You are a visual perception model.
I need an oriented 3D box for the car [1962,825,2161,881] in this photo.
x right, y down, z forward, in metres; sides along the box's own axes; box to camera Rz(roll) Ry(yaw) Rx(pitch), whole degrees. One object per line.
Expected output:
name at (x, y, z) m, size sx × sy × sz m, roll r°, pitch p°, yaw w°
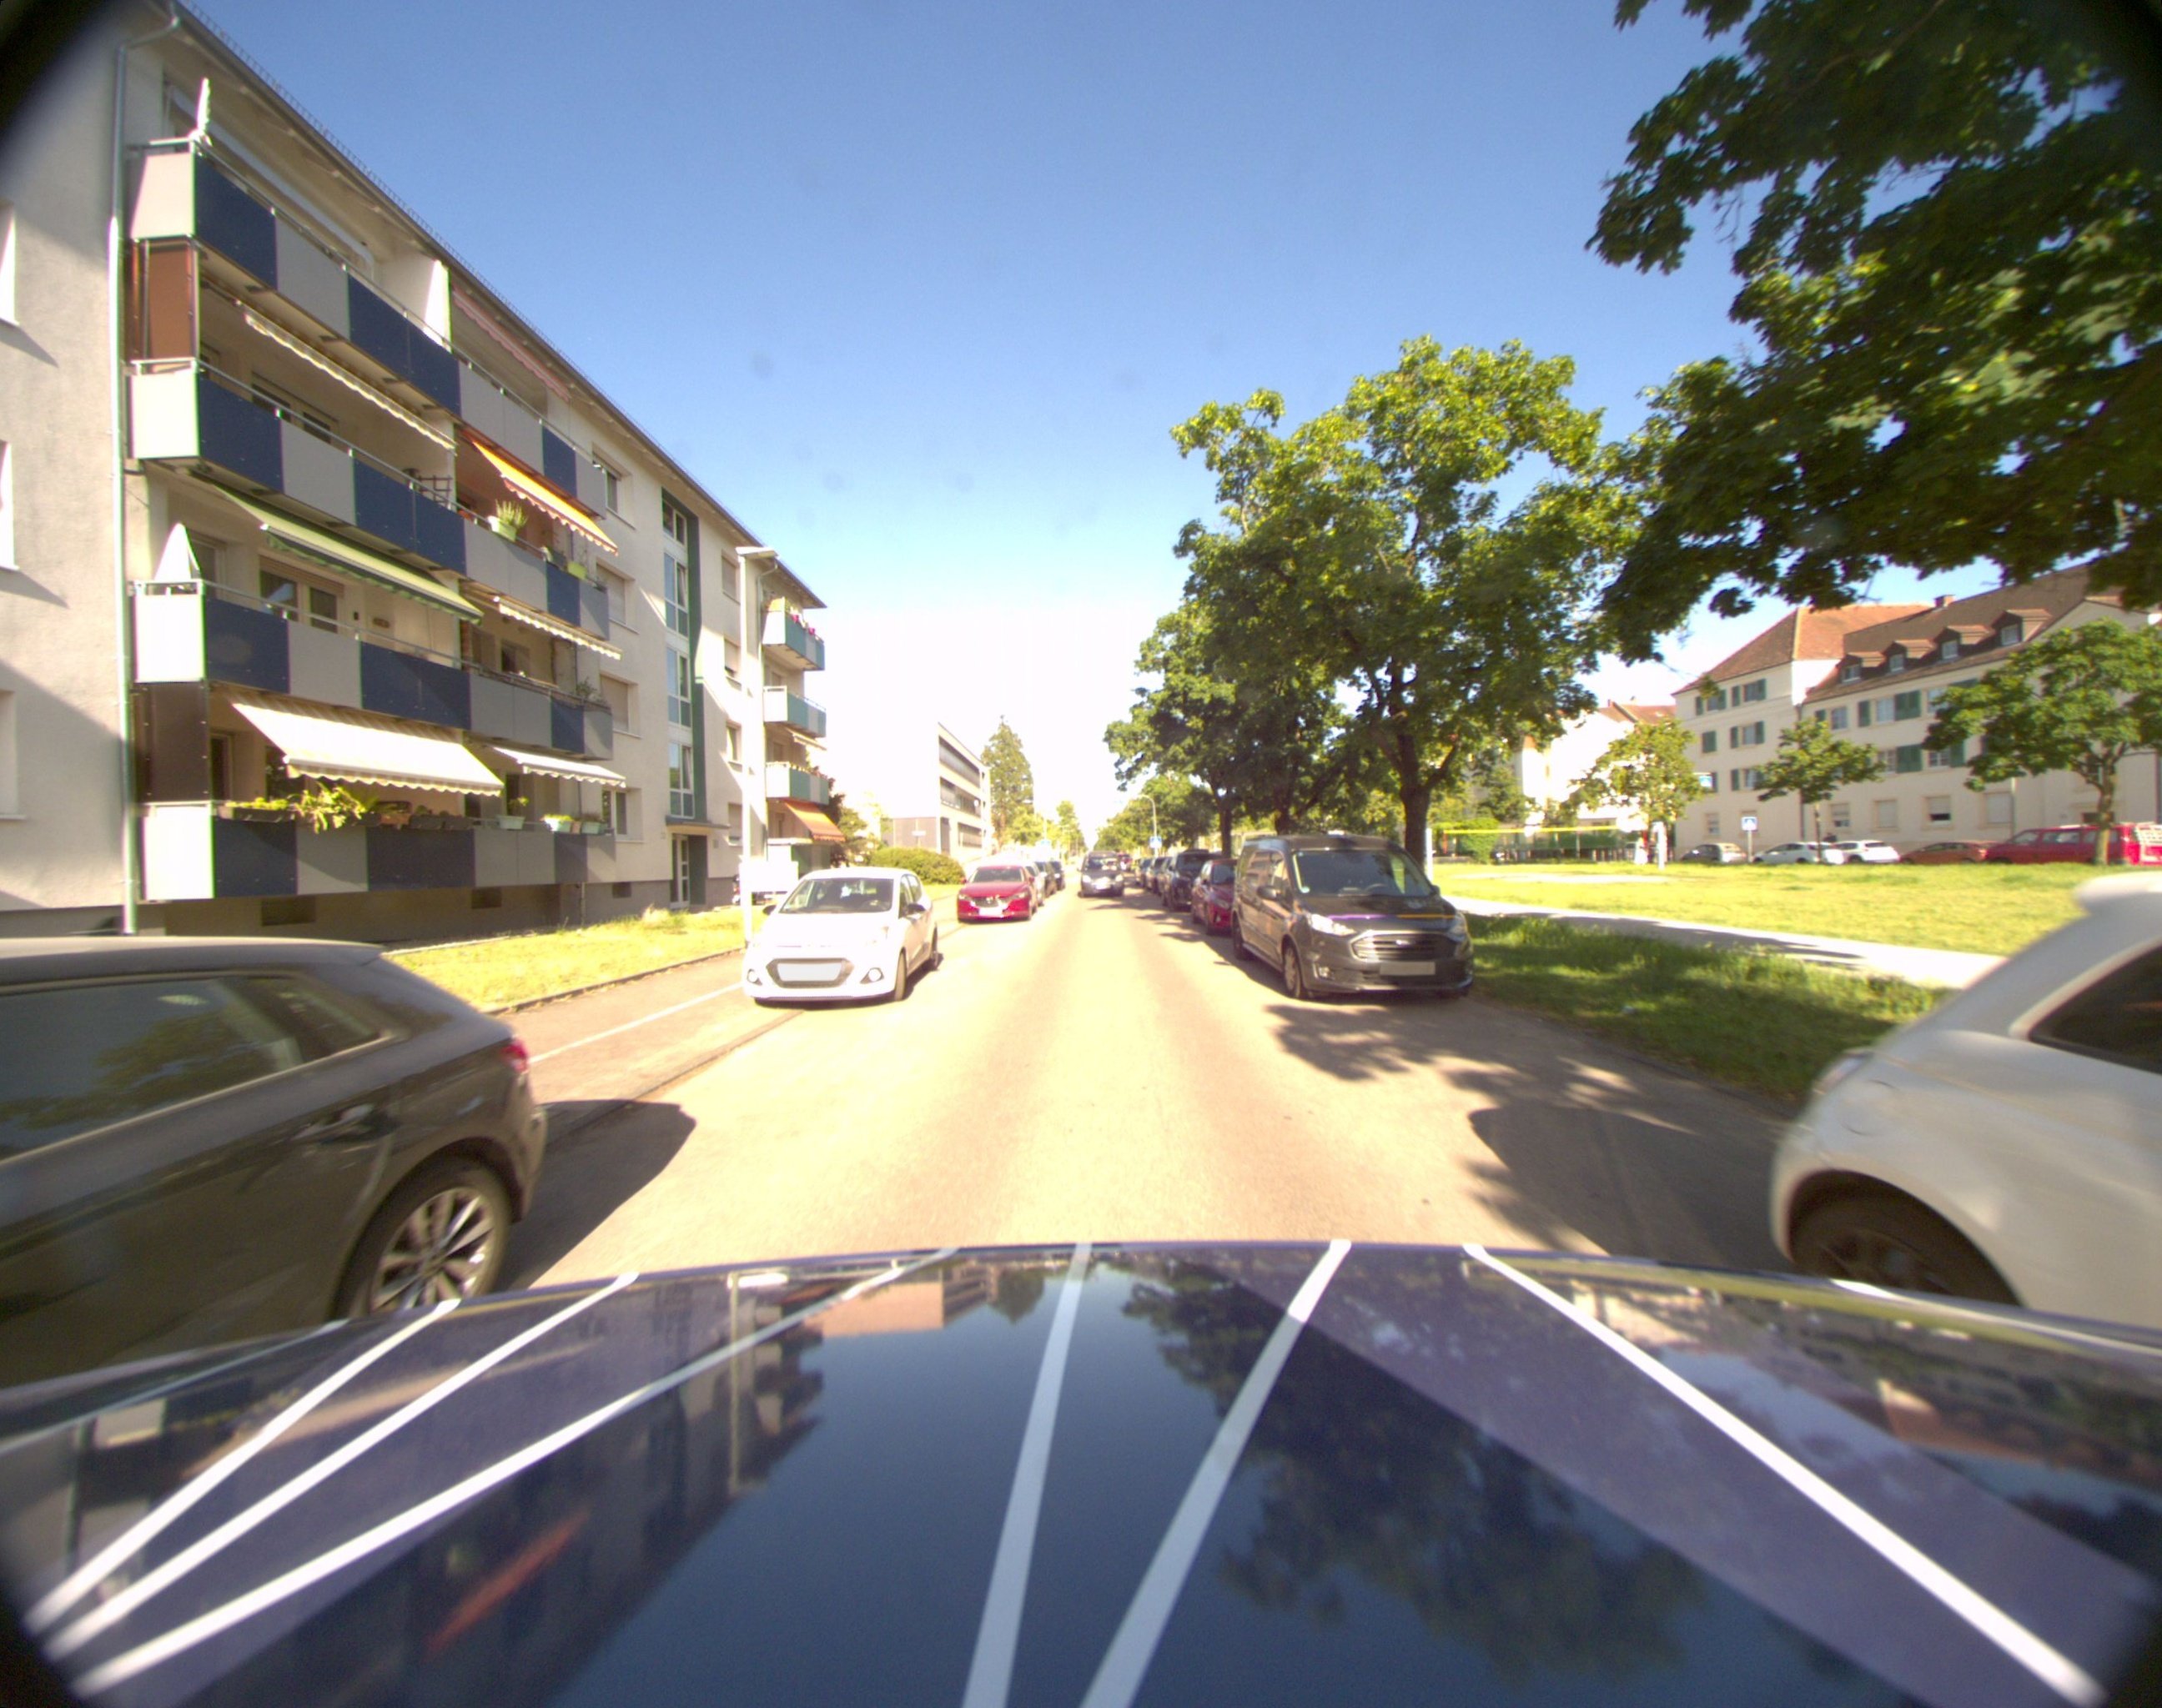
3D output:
car at (38.444, -0.061, 29.580) m, size 2.226 × 1.973 × 5.258 m, roll -2°, pitch 0°, yaw 1°

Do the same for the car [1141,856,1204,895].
car at (3.810, 0.860, 32.528) m, size 1.999 × 1.507 × 5.157 m, roll 0°, pitch 0°, yaw -1°

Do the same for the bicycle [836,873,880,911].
bicycle at (-7.027, 1.180, 24.084) m, size 0.721 × 1.071 × 1.897 m, roll -2°, pitch 0°, yaw 3°

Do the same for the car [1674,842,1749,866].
car at (38.253, 0.009, 46.209) m, size 1.654 × 1.325 × 3.515 m, roll -1°, pitch 0°, yaw 0°

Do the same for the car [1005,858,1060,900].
car at (-1.924, 0.984, 31.406) m, size 1.774 × 1.520 × 4.558 m, roll -1°, pitch 0°, yaw 3°

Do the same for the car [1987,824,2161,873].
car at (43.859, -0.236, 33.198) m, size 2.226 × 1.973 × 5.257 m, roll -2°, pitch 0°, yaw -1°

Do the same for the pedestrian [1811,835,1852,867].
pedestrian at (46.218, -0.189, 46.809) m, size 1.343 × 1.952 × 1.163 m, roll -1°, pitch 1°, yaw -4°

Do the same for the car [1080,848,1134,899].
car at (0.963, 0.725, 29.430) m, size 1.902 × 1.779 × 4.157 m, roll -2°, pitch 0°, yaw 1°

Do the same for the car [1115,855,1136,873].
car at (4.786, 1.045, 80.760) m, size 2.021 × 1.867 × 4.742 m, roll -1°, pitch 0°, yaw 5°

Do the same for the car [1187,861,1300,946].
car at (3.157, 0.894, 15.467) m, size 1.542 × 1.420 × 4.088 m, roll -1°, pitch 0°, yaw 2°

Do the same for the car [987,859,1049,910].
car at (-2.079, 0.959, 26.121) m, size 1.878 × 1.525 × 4.492 m, roll -2°, pitch 0°, yaw -2°

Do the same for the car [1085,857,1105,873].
car at (1.300, 0.969, 68.456) m, size 1.652 × 1.324 × 4.935 m, roll -2°, pitch 0°, yaw 3°

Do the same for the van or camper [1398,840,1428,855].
van or camper at (44.887, -0.882, 102.828) m, size 2.273 × 2.002 × 4.374 m, roll -2°, pitch 1°, yaw 2°

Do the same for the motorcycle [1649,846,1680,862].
motorcycle at (47.257, 0.013, 61.588) m, size 0.818 × 1.297 × 2.145 m, roll -2°, pitch 0°, yaw 0°

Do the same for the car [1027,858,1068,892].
car at (-1.553, 0.997, 36.874) m, size 1.662 × 1.465 × 3.793 m, roll -3°, pitch 0°, yaw 1°

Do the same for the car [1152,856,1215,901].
car at (3.619, 0.830, 27.464) m, size 1.884 × 1.411 × 3.803 m, roll -1°, pitch 1°, yaw 2°

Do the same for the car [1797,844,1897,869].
car at (43.956, 0.131, 43.739) m, size 1.773 × 1.348 × 4.000 m, roll -1°, pitch 0°, yaw 1°

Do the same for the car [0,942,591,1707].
car at (-2.916, 1.086, 0.961) m, size 1.703 × 1.427 × 4.471 m, roll 0°, pitch 0°, yaw 0°

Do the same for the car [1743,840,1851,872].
car at (38.343, 0.119, 40.860) m, size 1.793 × 1.574 × 4.235 m, roll -2°, pitch 0°, yaw 0°

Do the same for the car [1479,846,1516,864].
car at (44.446, 0.104, 81.160) m, size 1.954 × 1.783 × 4.001 m, roll -1°, pitch 0°, yaw 2°

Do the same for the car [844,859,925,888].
car at (-11.894, 1.187, 46.232) m, size 4.418 × 1.614 × 1.914 m, roll -2°, pitch 0°, yaw -1°

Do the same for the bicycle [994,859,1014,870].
bicycle at (-8.216, 1.141, 80.860) m, size 2.029 × 1.057 × 0.883 m, roll 2°, pitch 0°, yaw 0°

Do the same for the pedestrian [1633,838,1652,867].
pedestrian at (33.053, -0.100, 44.701) m, size 0.544 × 1.675 × 0.750 m, roll -1°, pitch 0°, yaw 3°

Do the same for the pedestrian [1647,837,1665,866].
pedestrian at (33.719, -0.173, 44.561) m, size 0.544 × 1.675 × 0.674 m, roll -1°, pitch 0°, yaw 6°

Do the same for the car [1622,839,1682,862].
car at (51.624, -0.322, 68.722) m, size 3.812 × 1.944 × 2.043 m, roll -2°, pitch 0°, yaw 3°

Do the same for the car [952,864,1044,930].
car at (-2.097, 1.049, 20.531) m, size 1.848 × 1.464 × 5.065 m, roll -2°, pitch 0°, yaw 1°

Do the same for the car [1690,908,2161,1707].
car at (2.743, 0.916, 0.576) m, size 1.590 × 1.484 × 3.685 m, roll 0°, pitch 0°, yaw 0°

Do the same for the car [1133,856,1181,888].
car at (3.735, 0.854, 38.131) m, size 1.840 × 1.444 × 4.967 m, roll -1°, pitch 0°, yaw -1°

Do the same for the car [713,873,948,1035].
car at (-2.845, 1.044, 9.544) m, size 1.752 × 1.490 × 3.860 m, roll -1°, pitch 0°, yaw -2°

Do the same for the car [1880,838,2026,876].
car at (43.910, 0.165, 38.438) m, size 1.999 × 1.753 × 4.644 m, roll -1°, pitch 0°, yaw -1°

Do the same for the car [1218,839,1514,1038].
car at (3.033, 0.740, 9.378) m, size 1.869 × 1.774 × 4.991 m, roll -1°, pitch 1°, yaw 1°

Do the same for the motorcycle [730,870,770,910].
motorcycle at (-10.430, 1.117, 24.019) m, size 0.584 × 1.144 × 2.036 m, roll -2°, pitch 0°, yaw -8°

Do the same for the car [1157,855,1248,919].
car at (3.336, 0.832, 21.733) m, size 2.030 × 1.616 × 4.758 m, roll 0°, pitch 0°, yaw 2°

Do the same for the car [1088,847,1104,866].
car at (2.258, 0.368, 110.015) m, size 2.074 × 2.583 × 6.203 m, roll -1°, pitch 0°, yaw 3°
